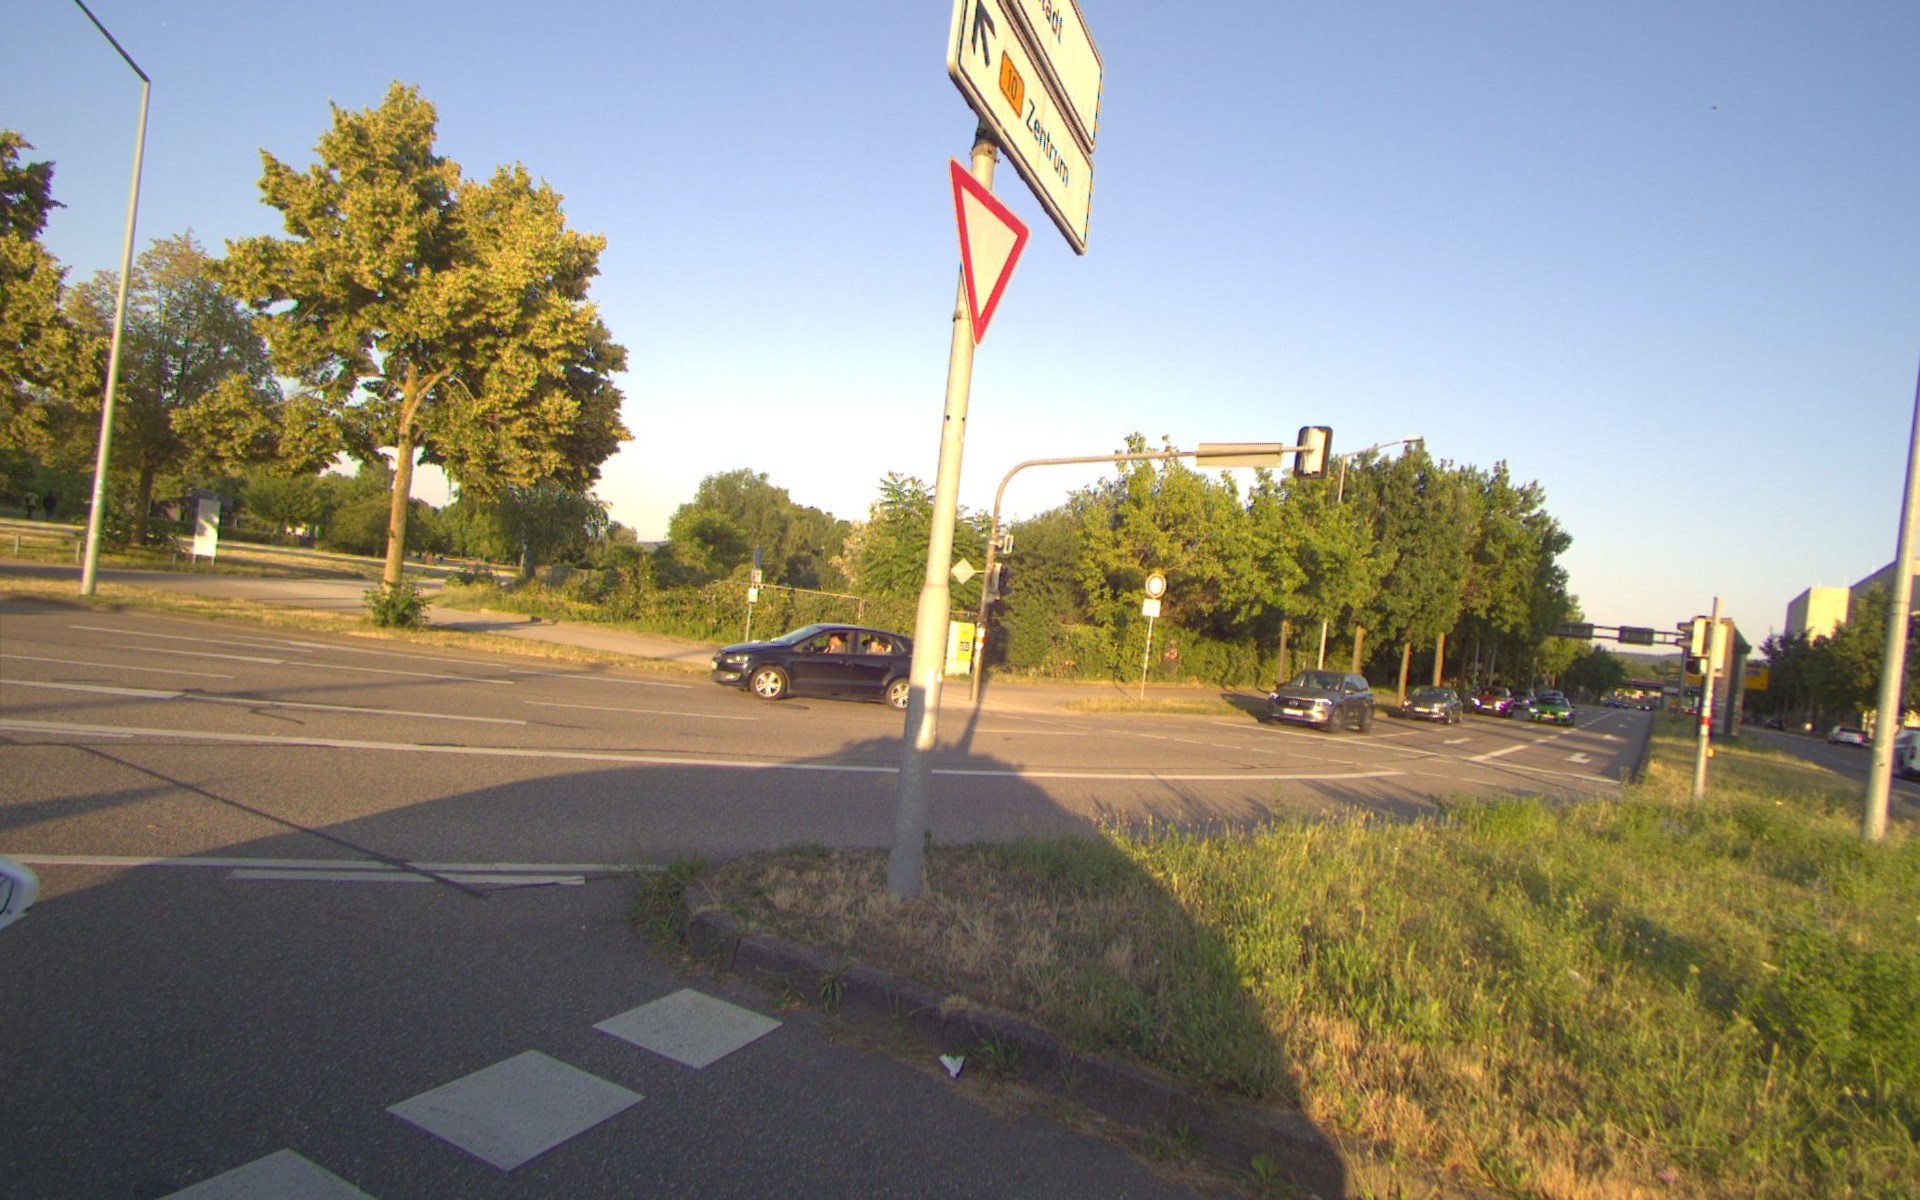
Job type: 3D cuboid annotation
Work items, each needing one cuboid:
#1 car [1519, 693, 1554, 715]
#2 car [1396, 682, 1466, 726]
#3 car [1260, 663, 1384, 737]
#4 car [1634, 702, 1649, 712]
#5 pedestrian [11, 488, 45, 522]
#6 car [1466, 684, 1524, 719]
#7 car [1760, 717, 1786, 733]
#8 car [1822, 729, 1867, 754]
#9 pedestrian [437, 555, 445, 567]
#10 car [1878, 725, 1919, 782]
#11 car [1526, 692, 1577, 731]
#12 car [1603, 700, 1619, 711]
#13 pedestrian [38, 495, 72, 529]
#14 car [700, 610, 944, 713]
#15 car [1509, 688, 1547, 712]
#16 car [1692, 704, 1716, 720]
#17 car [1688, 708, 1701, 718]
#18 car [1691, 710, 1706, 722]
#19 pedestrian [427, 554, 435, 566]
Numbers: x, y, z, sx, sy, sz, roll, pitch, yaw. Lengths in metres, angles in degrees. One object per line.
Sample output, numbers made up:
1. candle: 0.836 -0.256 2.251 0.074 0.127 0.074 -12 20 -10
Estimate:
1. car: 45.354 8.192 79.165 1.839 1.406 4.150 7 -1 36
2. car: 19.277 4.233 41.075 1.856 1.481 4.660 5 -2 33
3. car: 10.123 2.775 27.903 1.969 1.657 4.513 6 -1 36
4. car: 126.170 19.726 186.223 1.969 1.523 4.758 7 -1 35
5. pedestrian: -49.983 -5.098 53.947 0.896 1.637 1.070 7 0 34
6. car: 29.713 5.626 55.773 1.970 1.592 4.400 7 -1 38
7. car: 98.574 15.123 121.998 1.974 1.593 3.978 7 -1 45
8. car: 68.133 10.874 77.578 1.969 1.527 5.171 7 -1 36
9. pedestrian: -80.042 -6.023 155.218 0.847 1.681 0.969 7 0 -36
10. car: 37.720 6.063 39.253 2.036 1.970 4.947 7 -1 36
11. car: 30.460 5.704 51.892 1.966 1.598 4.479 8 0 29
12. car: 106.981 17.322 165.275 1.885 1.602 4.170 7 -1 35
13. pedestrian: -49.149 -4.785 54.615 0.896 1.637 1.070 7 0 34
14. car: -2.471 1.096 18.062 3.947 1.370 1.686 7 -2 -23
15. car: 39.150 6.888 69.282 1.838 1.406 4.152 7 -1 35
16. car: 87.619 13.204 118.539 1.969 1.523 4.101 7 -1 35
17. car: 152.034 23.358 208.348 1.969 1.804 3.988 7 -1 37
18. car: 130.328 20.434 177.610 1.969 1.804 3.988 7 -1 37
19. pedestrian: -81.937 -6.247 155.908 0.846 1.681 0.970 7 0 -33
